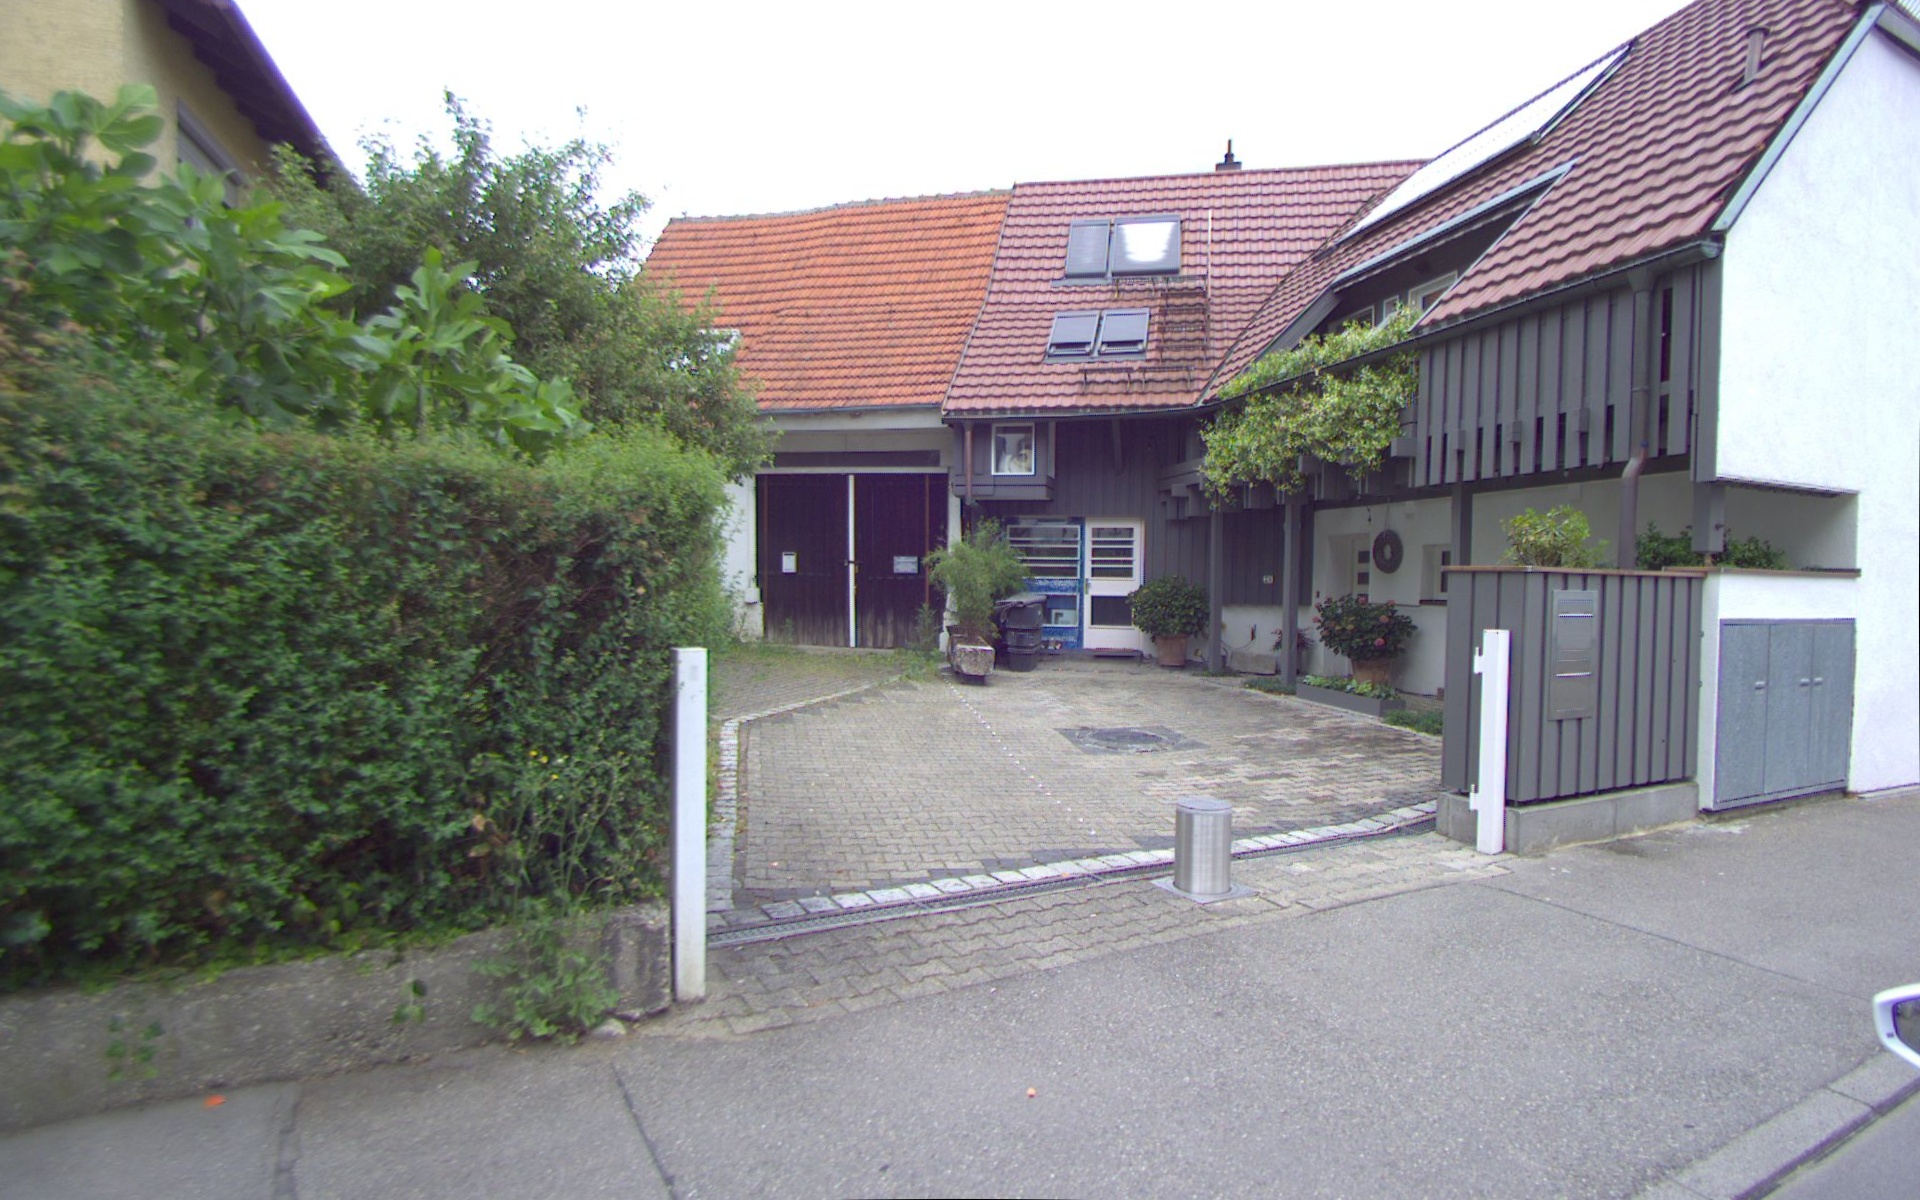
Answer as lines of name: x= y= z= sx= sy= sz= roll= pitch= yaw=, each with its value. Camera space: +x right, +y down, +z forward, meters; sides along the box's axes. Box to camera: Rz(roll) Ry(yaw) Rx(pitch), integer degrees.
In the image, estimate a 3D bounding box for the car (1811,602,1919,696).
car: x=16.709 y=0.921 z=16.384 sx=2.093 sy=1.430 sz=3.717 roll=3 pitch=2 yaw=-26
